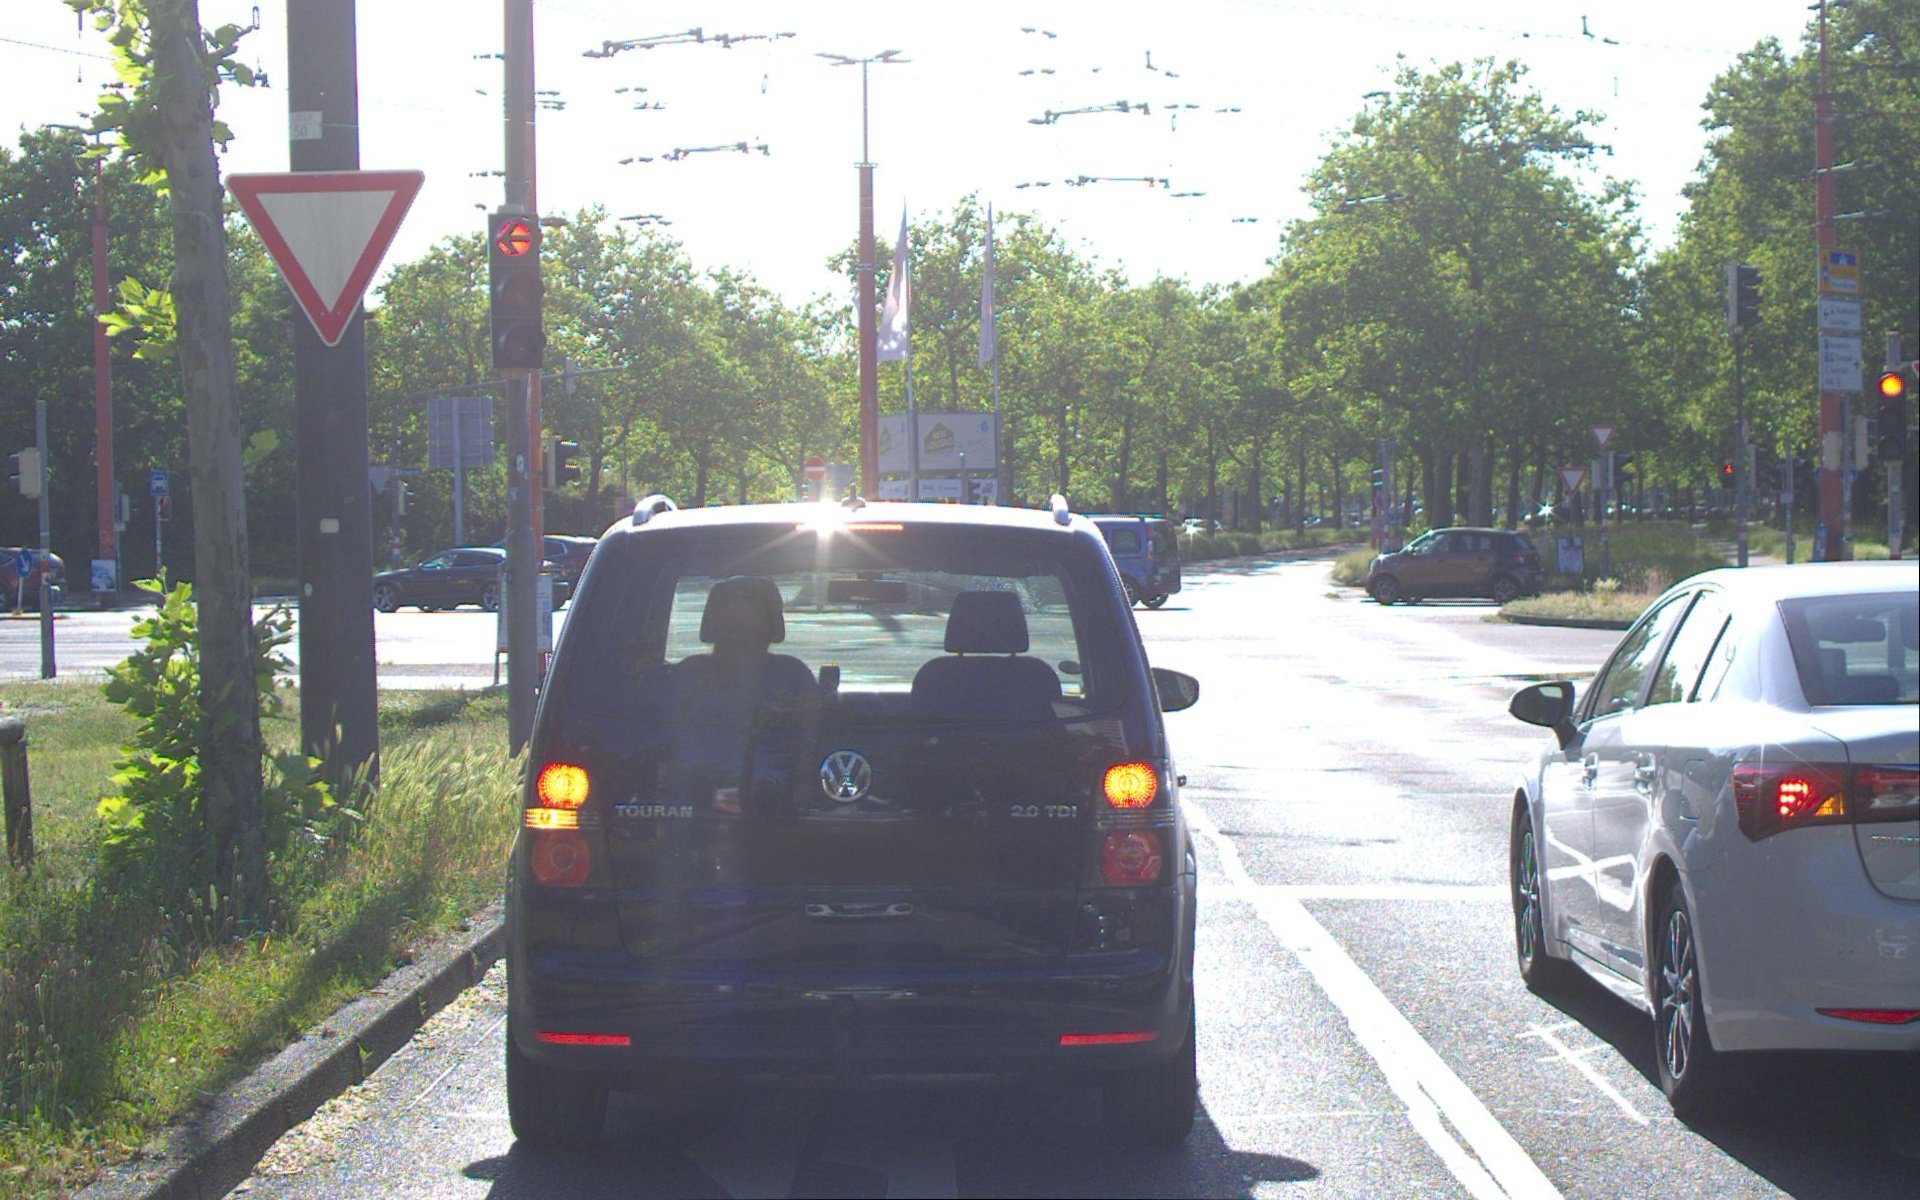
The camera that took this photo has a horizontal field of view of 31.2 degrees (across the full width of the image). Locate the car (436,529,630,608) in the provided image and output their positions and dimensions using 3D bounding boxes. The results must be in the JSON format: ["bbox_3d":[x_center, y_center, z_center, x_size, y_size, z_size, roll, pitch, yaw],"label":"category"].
[{"bbox_3d":[-9.837,-0.750,79.223,4.124,1.784,1.796,1,1,26],"label":"car"}]

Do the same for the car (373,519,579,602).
[{"bbox_3d":[-10.541,-0.877,74.861,4.124,1.784,1.796,1,1,24],"label":"car"}]

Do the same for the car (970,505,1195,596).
[{"bbox_3d":[2.453,-1.002,68.791,4.124,1.784,1.796,1,1,24],"label":"car"}]

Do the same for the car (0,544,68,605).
[{"bbox_3d":[-24.449,-0.659,85.843,4.124,1.466,1.654,1,1,26],"label":"car"}]

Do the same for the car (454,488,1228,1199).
[{"bbox_3d":[-0.253,0.535,9.976,1.738,1.597,4.326,1,1,1],"label":"car"}]

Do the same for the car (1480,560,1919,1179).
[{"bbox_3d":[2.757,0.616,10.154,1.799,1.435,4.326,1,1,1],"label":"car"}]

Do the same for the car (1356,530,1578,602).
[{"bbox_3d":[10.196,-0.695,69.199,4.124,1.398,1.654,1,1,25],"label":"car"}]
